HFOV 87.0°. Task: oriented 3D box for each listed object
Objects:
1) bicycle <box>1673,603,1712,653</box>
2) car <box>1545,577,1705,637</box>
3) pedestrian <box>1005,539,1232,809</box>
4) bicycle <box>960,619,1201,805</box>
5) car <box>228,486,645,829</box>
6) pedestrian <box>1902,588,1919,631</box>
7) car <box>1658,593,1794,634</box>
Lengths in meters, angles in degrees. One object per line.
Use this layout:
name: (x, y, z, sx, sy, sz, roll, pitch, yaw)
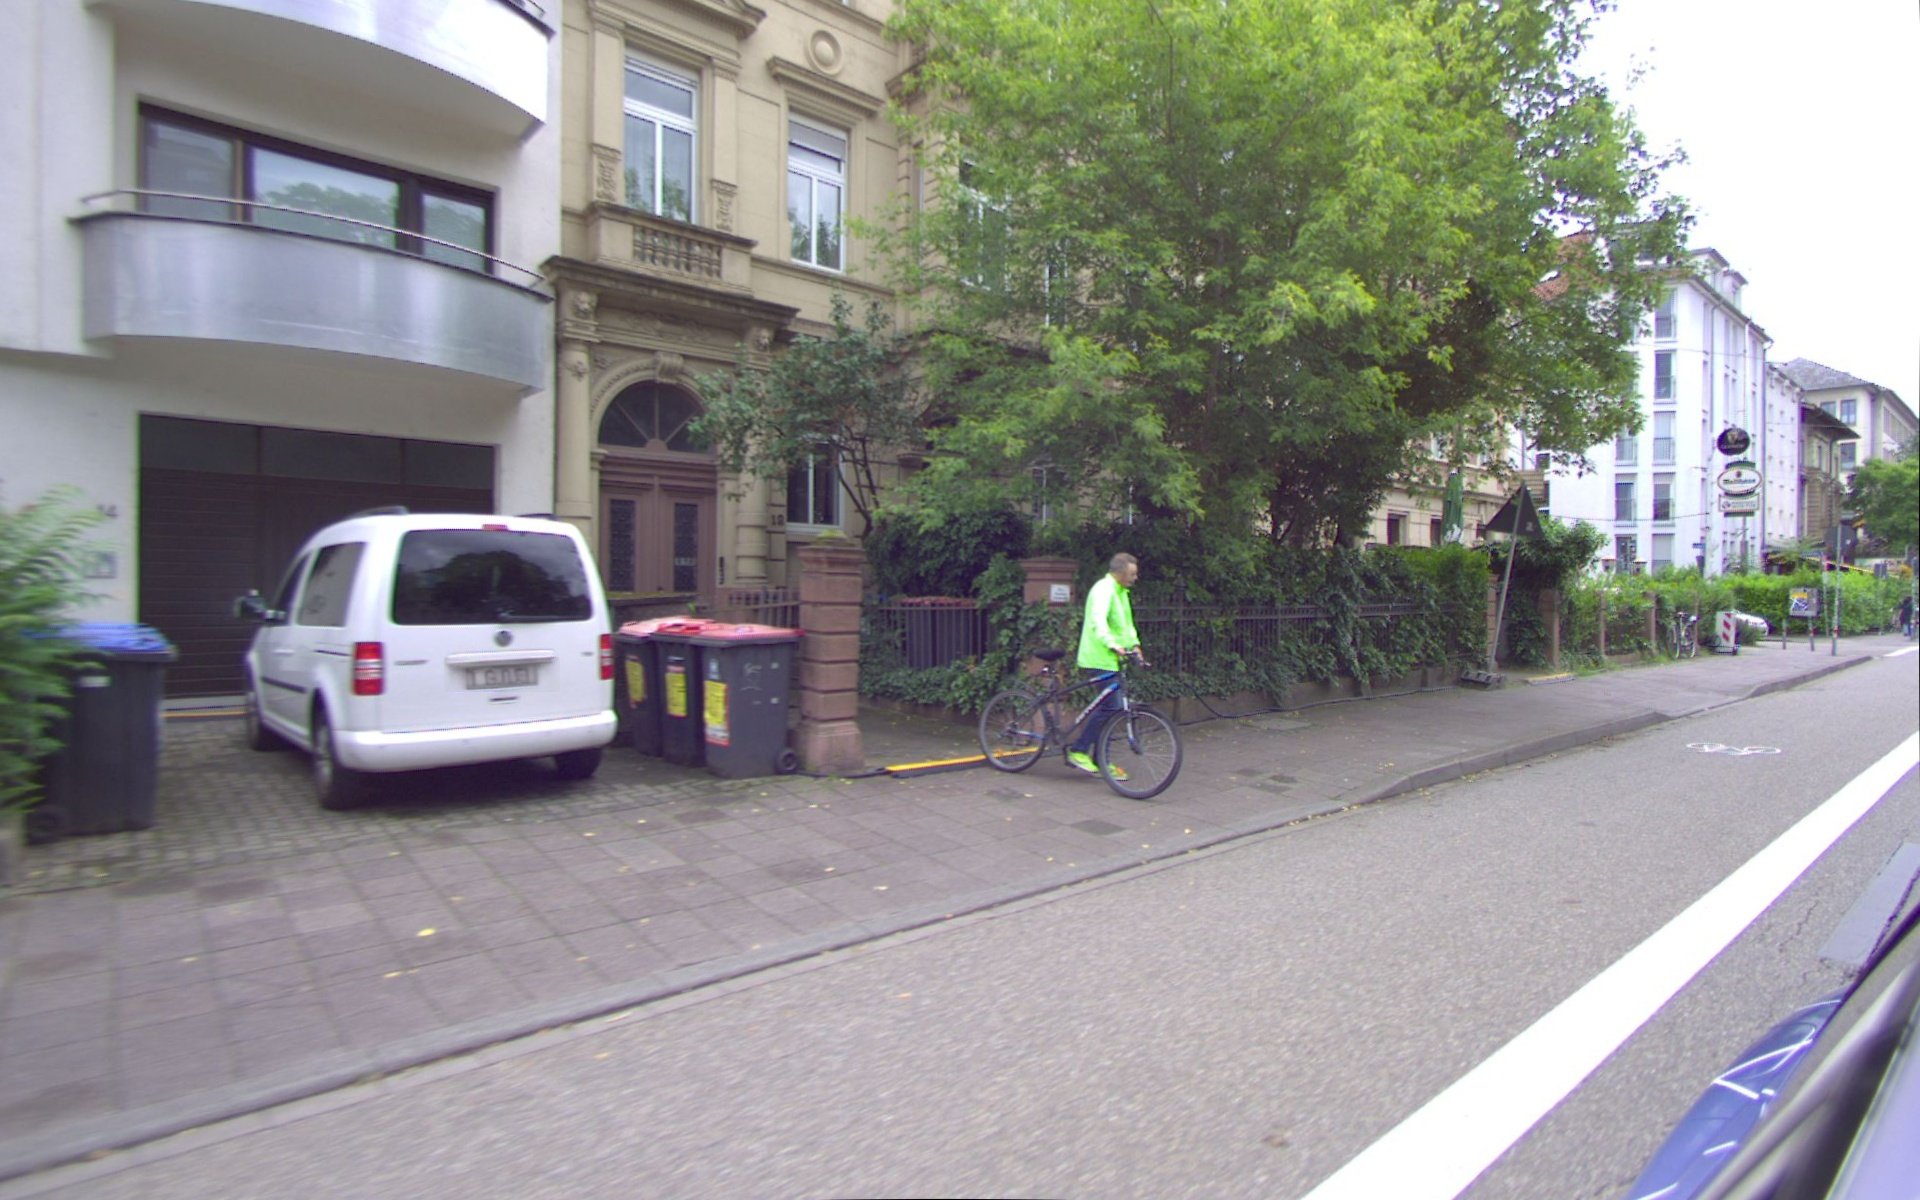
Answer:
bicycle: (16.364, 0.610, 22.596, 1.816, 1.055, 0.302, 0, 0, -42)
car: (22.312, 0.221, 33.962, 4.924, 1.901, 2.063, 0, 1, -22)
pedestrian: (1.149, 0.461, 7.457, 1.000, 1.753, 1.231, 0, 4, -42)
bicycle: (0.851, 0.769, 7.675, 0.596, 1.089, 1.845, 0, 4, -42)
car: (-4.122, 0.264, 7.627, 1.779, 1.881, 3.991, 0, 1, -43)
pedestrian: (38.133, 0.374, 40.171, 0.819, 1.656, 0.797, -1, 2, -25)
car: (28.865, 0.467, 38.285, 1.636, 1.449, 3.829, 1, 0, -18)
